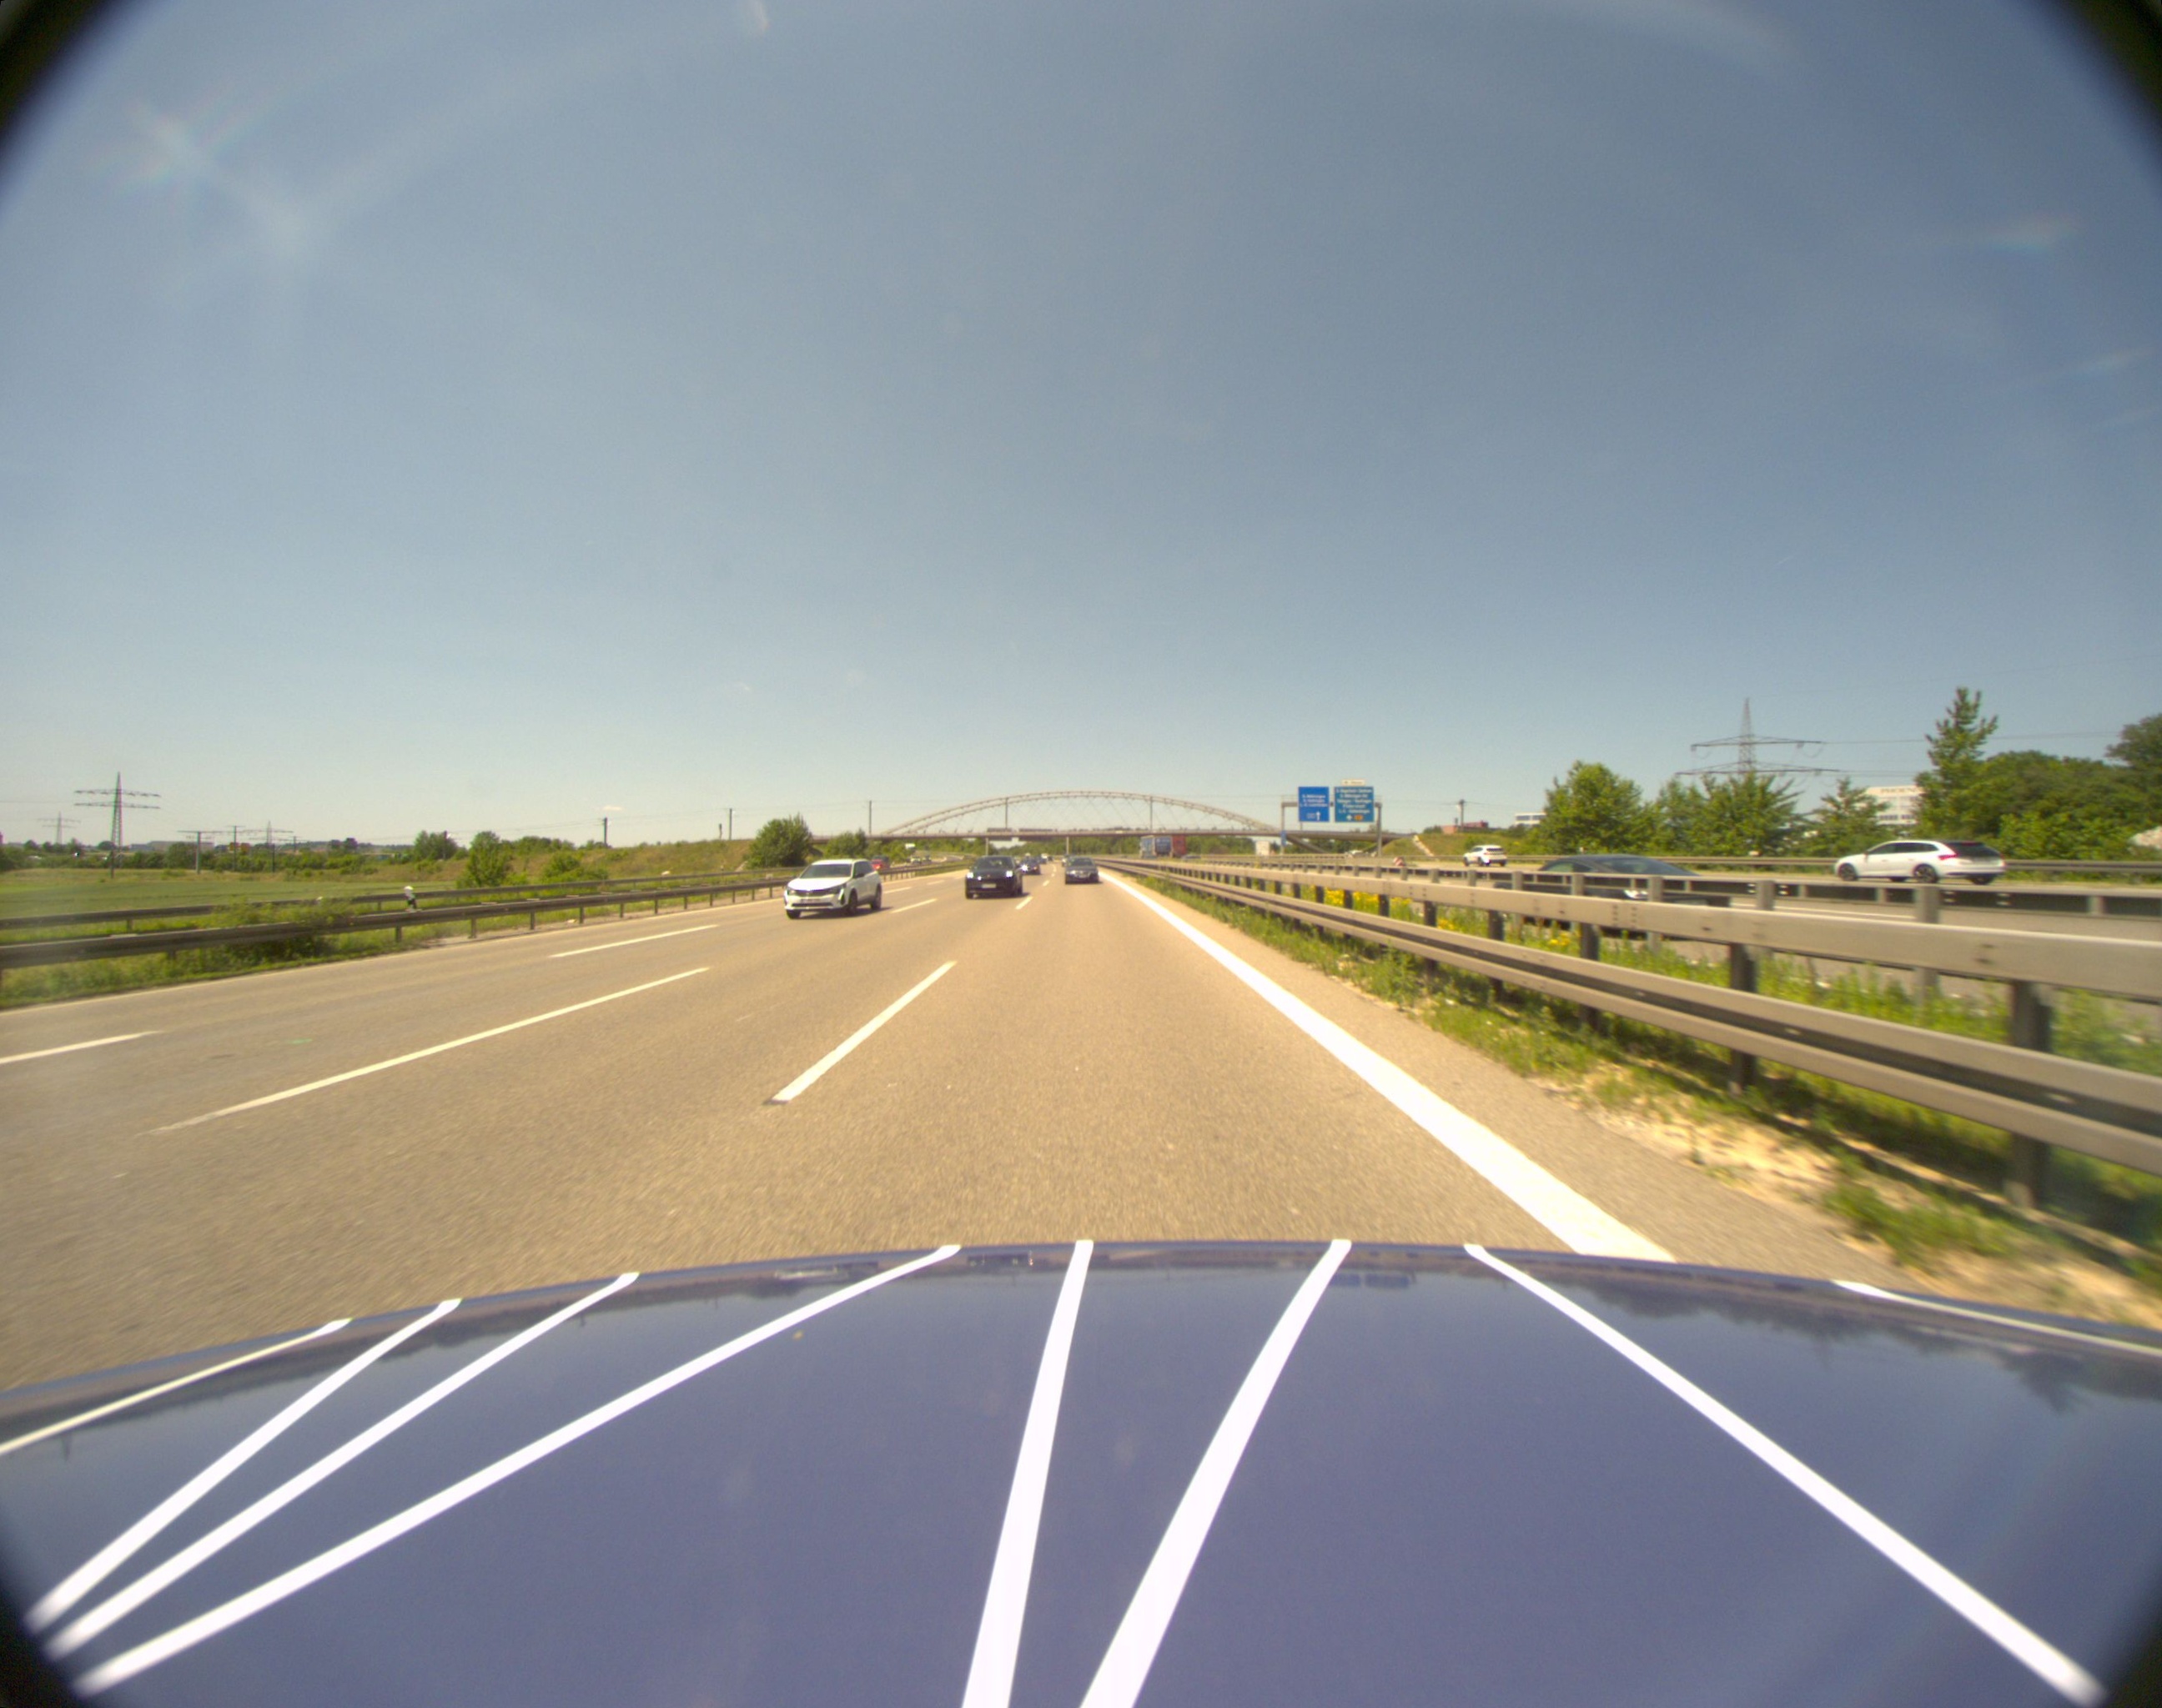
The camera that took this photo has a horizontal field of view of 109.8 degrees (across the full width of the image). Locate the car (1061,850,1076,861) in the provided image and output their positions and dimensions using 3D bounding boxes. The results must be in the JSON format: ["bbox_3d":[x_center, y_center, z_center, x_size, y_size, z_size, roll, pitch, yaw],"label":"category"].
[{"bbox_3d":[-1.722,0.221,101.363,1.932,1.390,4.116,-2,1,-2],"label":"car"}]

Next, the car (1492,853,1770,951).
[{"bbox_3d":[9.355,0.720,13.464,1.809,1.382,4.291,-2,0,0],"label":"car"}]

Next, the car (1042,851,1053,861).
[{"bbox_3d":[-6.019,0.346,136.078,1.925,1.761,3.998,-2,1,-3],"label":"car"}]

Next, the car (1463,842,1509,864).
[{"bbox_3d":[31.368,-0.095,58.974,1.681,1.603,4.404,-1,0,7],"label":"car"}]

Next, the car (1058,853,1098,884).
[{"bbox_3d":[-0.111,0.764,41.515,1.931,1.499,4.391,-2,1,3],"label":"car"}]

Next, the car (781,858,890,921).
[{"bbox_3d":[-7.240,0.967,22.919,1.748,1.582,4.619,-2,1,0],"label":"car"}]

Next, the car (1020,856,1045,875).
[{"bbox_3d":[-4.006,0.922,63.250,1.932,1.390,4.116,-2,1,-1],"label":"car"}]

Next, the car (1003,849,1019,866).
[{"bbox_3d":[-8.664,0.412,93.809,1.809,1.908,4.293,-2,1,-4],"label":"car"}]

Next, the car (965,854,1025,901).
[{"bbox_3d":[-3.295,0.862,29.835,1.932,1.586,4.131,-2,1,-1],"label":"car"}]

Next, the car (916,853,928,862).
[{"bbox_3d":[-30.489,0.590,145.545,1.704,1.566,4.126,-2,1,-4],"label":"car"}]

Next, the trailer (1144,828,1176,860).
[{"bbox_3d":[11.590,-1.456,112.967,2.953,4.317,14.616,-2,1,-1],"label":"trailer"}]

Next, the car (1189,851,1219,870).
[{"bbox_3d":[9.909,0.508,61.584,1.682,1.455,4.704,-1,0,0],"label":"car"}]

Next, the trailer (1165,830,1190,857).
[{"bbox_3d":[15.578,-1.650,123.192,2.566,4.081,8.712,-2,1,-2],"label":"trailer"}]

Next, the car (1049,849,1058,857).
[{"bbox_3d":[-6.805,-0.209,188.827,1.999,1.849,3.999,-2,1,-1],"label":"car"}]

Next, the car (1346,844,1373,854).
[{"bbox_3d":[34.495,-0.600,94.309,1.682,1.196,4.402,-1,0,0],"label":"car"}]

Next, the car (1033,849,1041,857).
[{"bbox_3d":[-11.997,-0.262,207.506,1.998,2.002,3.999,-2,1,0],"label":"car"}]

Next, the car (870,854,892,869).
[{"bbox_3d":[-22.204,0.799,84.416,1.704,1.566,4.126,-2,1,-5],"label":"car"}]

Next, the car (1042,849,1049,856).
[{"bbox_3d":[-10.512,-0.510,226.065,1.998,2.002,3.999,-2,1,0],"label":"car"}]

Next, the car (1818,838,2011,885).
[{"bbox_3d":[27.504,0.203,25.360,1.521,1.393,4.799,-1,0,6],"label":"car"}]
